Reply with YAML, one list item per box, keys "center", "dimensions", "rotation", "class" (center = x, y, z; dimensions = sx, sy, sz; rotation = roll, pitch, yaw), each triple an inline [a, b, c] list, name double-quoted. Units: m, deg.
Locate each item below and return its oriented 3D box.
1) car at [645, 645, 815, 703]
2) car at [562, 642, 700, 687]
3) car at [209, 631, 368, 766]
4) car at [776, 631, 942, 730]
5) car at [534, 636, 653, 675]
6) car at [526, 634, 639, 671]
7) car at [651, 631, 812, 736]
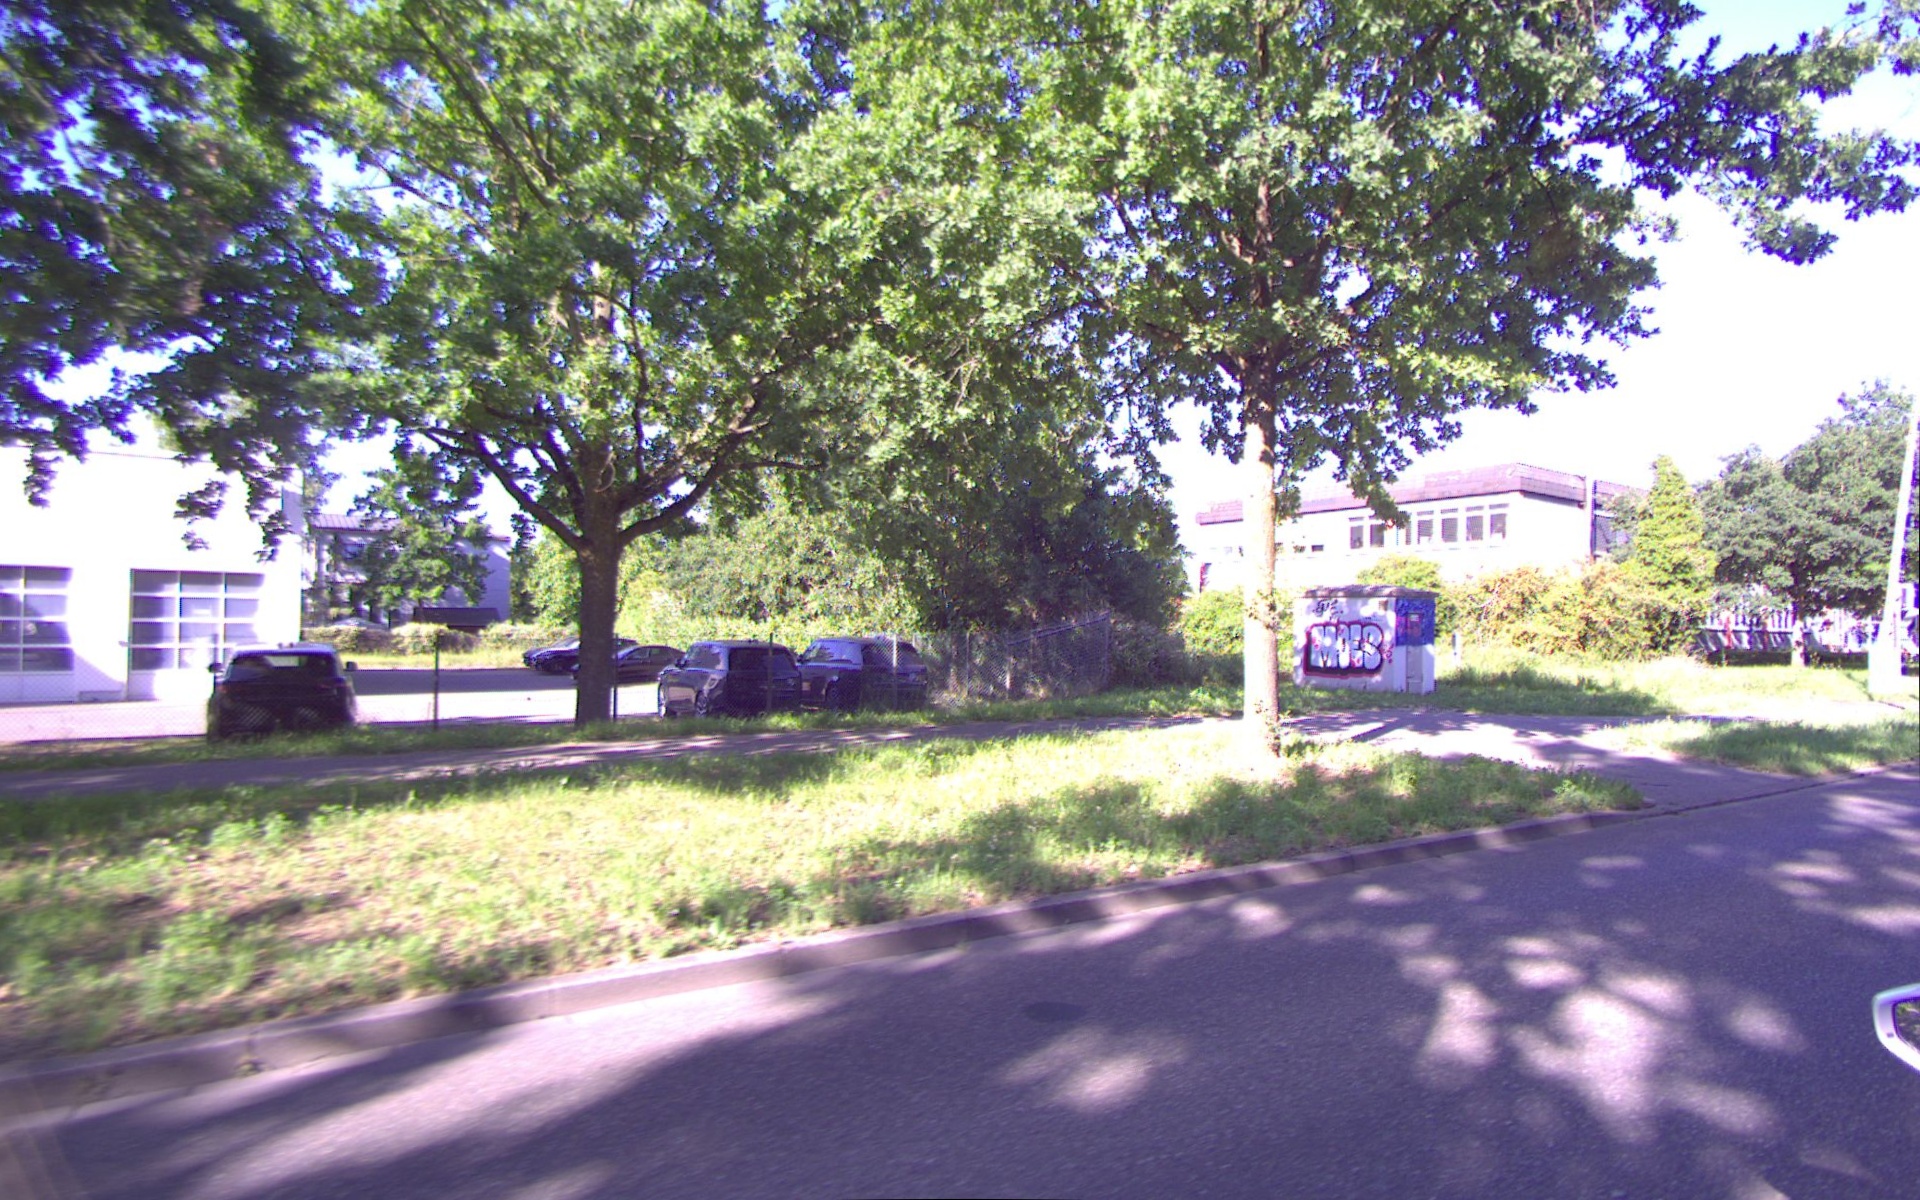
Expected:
- center: [-7.225, 2.273, 31.742]
  dimensions: [4.837, 1.587, 1.980]
  rotation: [2, 0, -35]
  class: "car"
- center: [-13.033, 2.514, 39.895]
  dimensions: [4.837, 1.587, 1.980]
  rotation: [2, 0, -35]
  class: "car"
- center: [-11.349, 1.520, 16.967]
  dimensions: [1.980, 1.825, 3.960]
  rotation: [2, 0, -35]
  class: "car"
- center: [-2.347, 1.686, 22.387]
  dimensions: [1.979, 1.825, 4.165]
  rotation: [2, 0, -33]
  class: "car"
- center: [-16.529, 2.504, 45.350]
  dimensions: [4.826, 1.587, 1.985]
  rotation: [2, 0, -29]
  class: "car"
- center: [-17.966, 2.494, 47.844]
  dimensions: [4.826, 1.587, 1.985]
  rotation: [2, 0, -29]
  class: "car"
- center: [-4.928, 1.654, 21.235]
  dimensions: [1.979, 1.825, 4.165]
  rotation: [2, 0, -33]
  class: "car"
